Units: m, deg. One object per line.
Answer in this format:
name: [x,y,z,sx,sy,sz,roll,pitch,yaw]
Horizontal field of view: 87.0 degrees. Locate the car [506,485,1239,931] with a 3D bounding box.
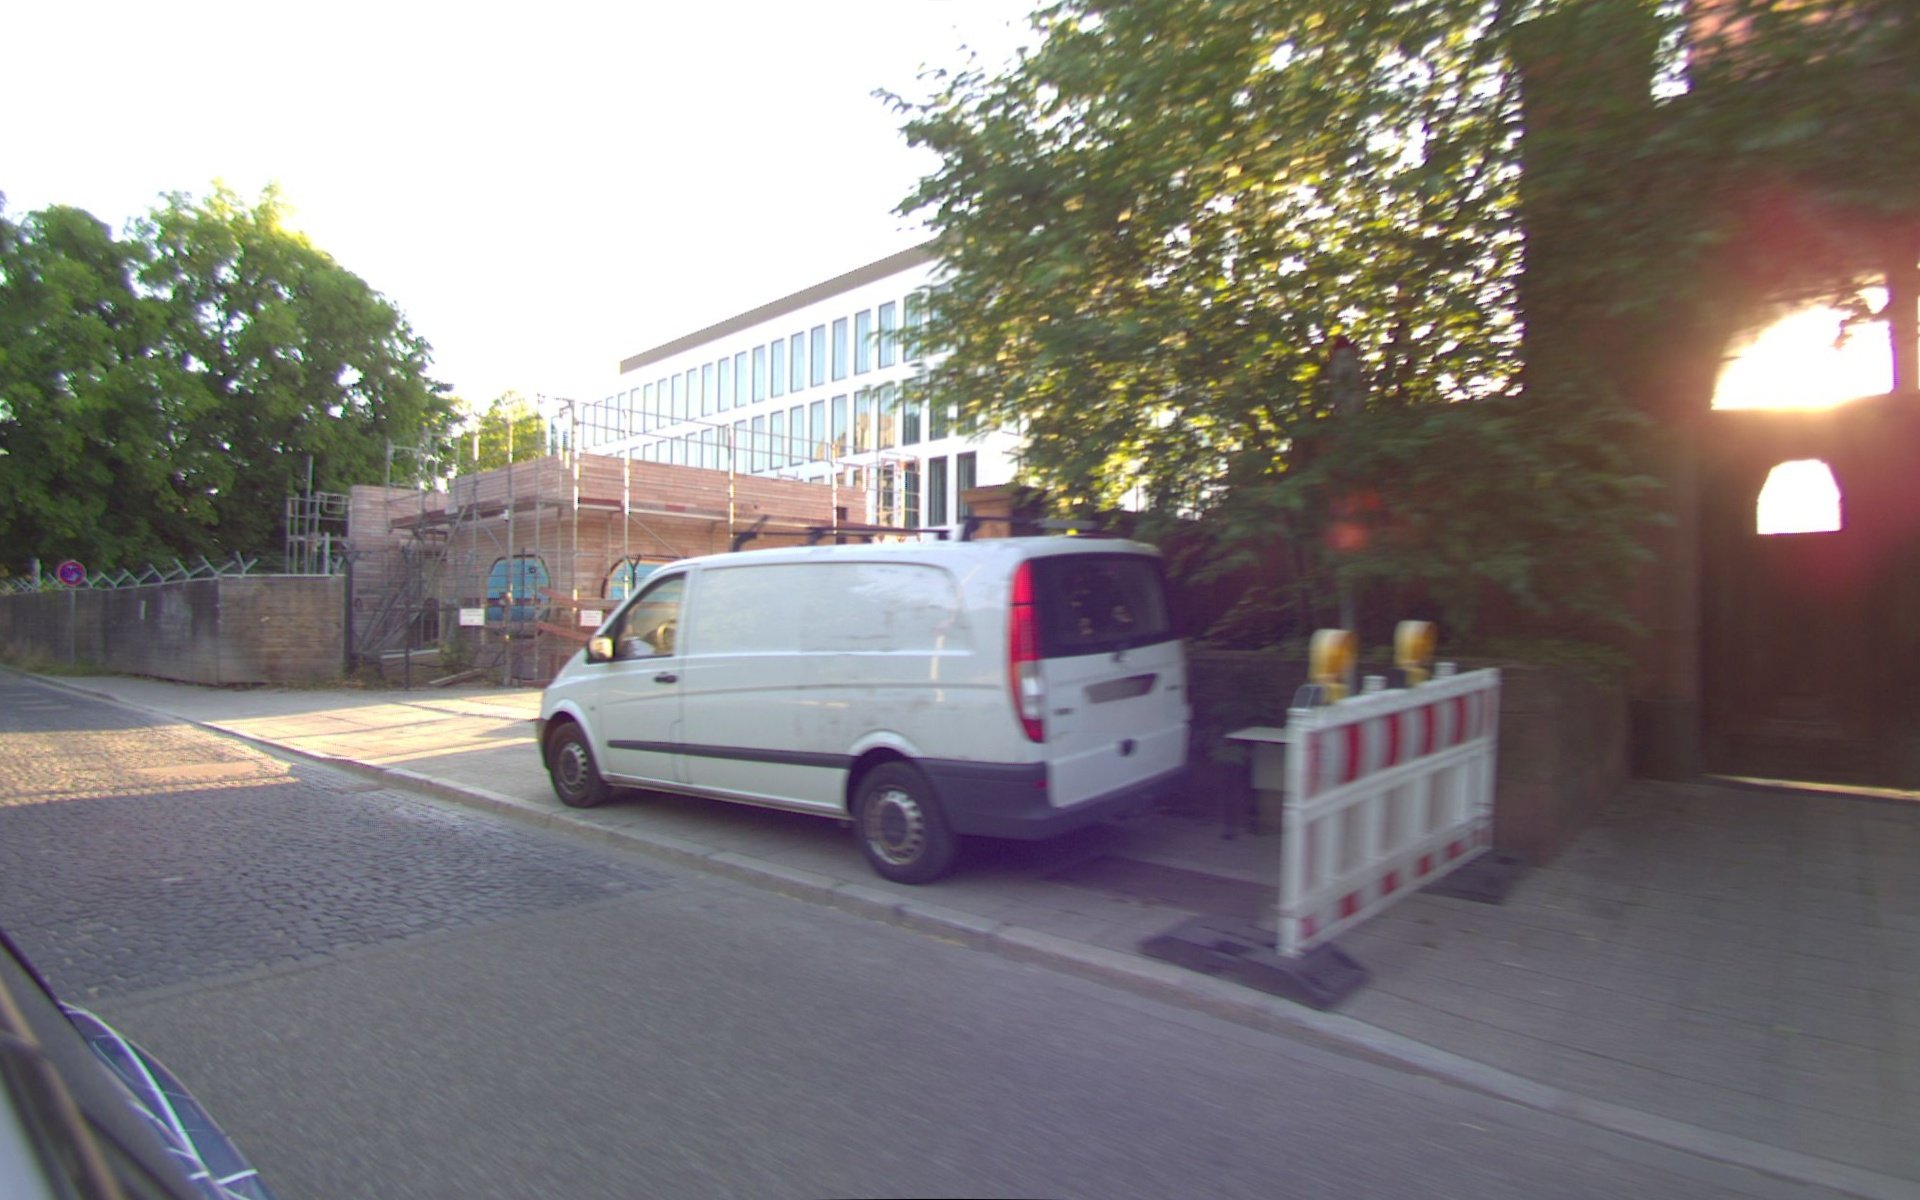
car: [-0.944,0.503,6.994,5.221,2.029,1.864,-1,1,40]
